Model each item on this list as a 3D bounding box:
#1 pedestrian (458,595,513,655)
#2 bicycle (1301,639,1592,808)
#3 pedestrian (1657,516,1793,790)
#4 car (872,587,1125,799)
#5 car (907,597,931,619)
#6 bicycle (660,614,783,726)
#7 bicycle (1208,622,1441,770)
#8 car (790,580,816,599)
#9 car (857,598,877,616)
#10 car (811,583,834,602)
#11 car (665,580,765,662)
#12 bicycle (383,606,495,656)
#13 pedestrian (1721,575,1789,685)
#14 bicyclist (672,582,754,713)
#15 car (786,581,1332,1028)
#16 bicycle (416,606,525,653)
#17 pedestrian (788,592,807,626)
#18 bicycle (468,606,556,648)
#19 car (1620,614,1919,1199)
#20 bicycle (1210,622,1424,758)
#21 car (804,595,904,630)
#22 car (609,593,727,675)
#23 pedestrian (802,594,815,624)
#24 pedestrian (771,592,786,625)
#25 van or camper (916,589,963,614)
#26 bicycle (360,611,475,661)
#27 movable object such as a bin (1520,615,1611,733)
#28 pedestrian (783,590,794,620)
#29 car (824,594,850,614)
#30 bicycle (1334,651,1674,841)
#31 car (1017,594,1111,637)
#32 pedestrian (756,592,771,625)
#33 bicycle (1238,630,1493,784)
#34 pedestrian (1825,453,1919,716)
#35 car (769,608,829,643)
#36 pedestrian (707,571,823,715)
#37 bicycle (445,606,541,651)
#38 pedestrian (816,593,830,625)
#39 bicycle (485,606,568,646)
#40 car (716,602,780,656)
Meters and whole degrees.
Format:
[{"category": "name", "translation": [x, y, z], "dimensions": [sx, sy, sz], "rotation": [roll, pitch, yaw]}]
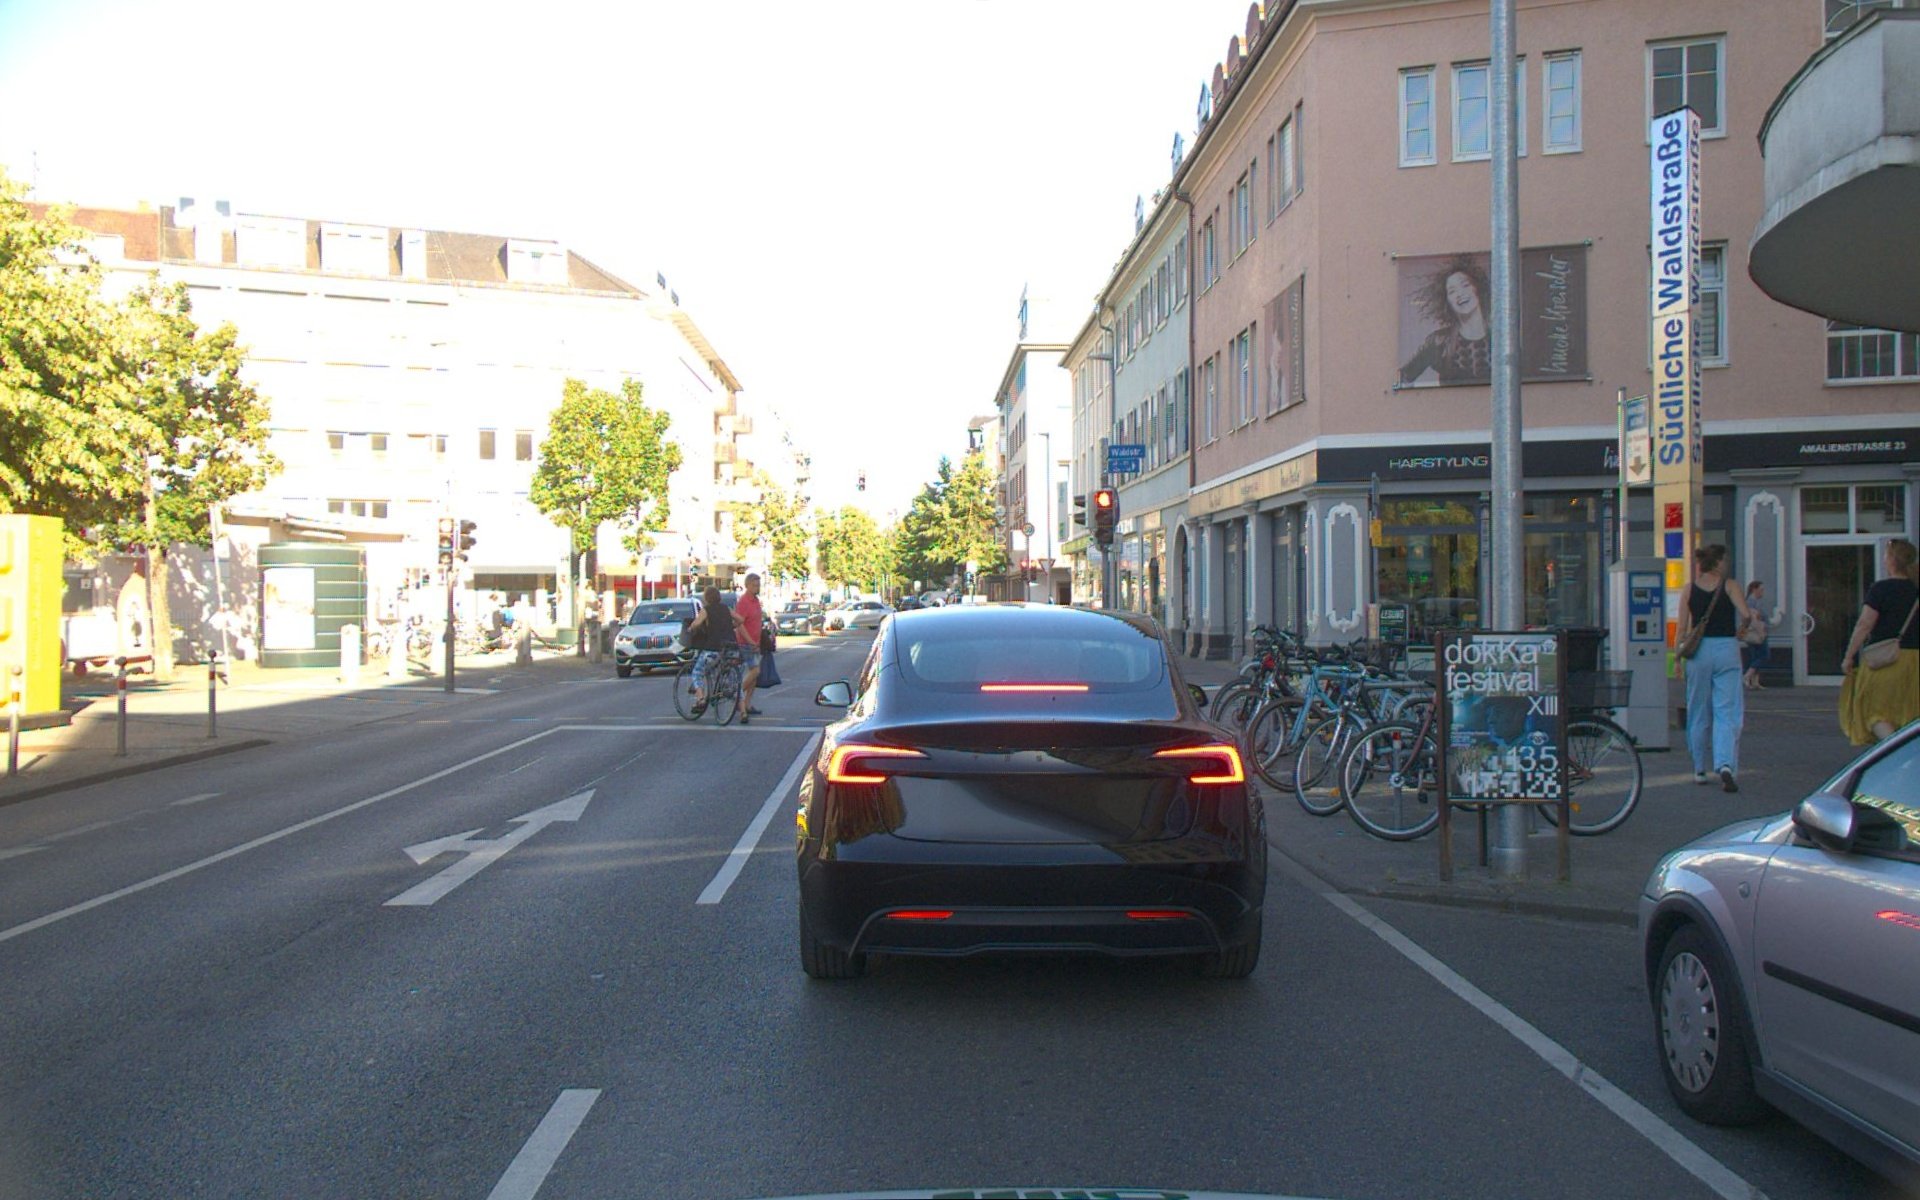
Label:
[{"category": "pedestrian", "translation": [-13.334, 0.702, 46.487], "dimensions": [1.248, 1.639, 1.086], "rotation": [1, -1, -29]}, {"category": "bicycle", "translation": [3.254, 0.817, 11.157], "dimensions": [1.776, 1.078, 0.653], "rotation": [0, 0, 0]}, {"category": "pedestrian", "translation": [5.531, 0.375, 12.003], "dimensions": [0.666, 1.882, 0.894], "rotation": [-4, -1, 16]}, {"category": "car", "translation": [0.247, 0.681, 14.190], "dimensions": [1.812, 1.507, 4.450], "rotation": [1, 0, -1]}, {"category": "car", "translation": [-3.405, 0.655, 138.435], "dimensions": [1.994, 1.819, 4.005], "rotation": [0, 0, -1]}, {"category": "bicycle", "translation": [-2.837, 0.793, 19.506], "dimensions": [0.622, 1.244, 1.976], "rotation": [0, 0, -35]}, {"category": "bicycle", "translation": [2.983, 0.778, 13.634], "dimensions": [1.776, 1.172, 0.653], "rotation": [0, 0, 0]}, {"category": "car", "translation": [-17.018, -1.131, 179.400], "dimensions": [2.228, 2.049, 4.717], "rotation": [1, 0, 0]}, {"category": "car", "translation": [-10.502, 0.827, 186.960], "dimensions": [2.089, 2.004, 4.133], "rotation": [0, 0, -1]}, {"category": "car", "translation": [-15.602, -0.819, 188.056], "dimensions": [2.228, 2.049, 4.717], "rotation": [1, 0, 0]}, {"category": "car", "translation": [-6.227, 0.503, 42.559], "dimensions": [1.906, 1.981, 4.819], "rotation": [0, 0, -1]}, {"category": "bicycle", "translation": [-14.120, 0.841, 44.917], "dimensions": [2.725, 1.296, 0.932], "rotation": [1, 0, -4]}, {"category": "pedestrian", "translation": [11.593, 0.433, 24.125], "dimensions": [0.710, 1.576, 0.788], "rotation": [0, -1, 40]}, {"category": "bicyclist", "translation": [-2.941, 0.550, 19.660], "dimensions": [0.601, 1.510, 0.946], "rotation": [1, -1, -35]}, {"category": "car", "translation": [0.304, 0.695, 7.766], "dimensions": [1.812, 1.472, 4.450], "rotation": [1, 0, -1]}, {"category": "bicycle", "translation": [-13.997, 0.828, 47.318], "dimensions": [2.818, 1.292, 0.942], "rotation": [1, 0, -4]}, {"category": "pedestrian", "translation": [-9.272, 0.506, 94.373], "dimensions": [0.719, 1.900, 0.790], "rotation": [1, -1, 28]}, {"category": "bicycle", "translation": [-14.058, 0.848, 51.911], "dimensions": [2.491, 1.273, 0.942], "rotation": [1, 0, -4]}, {"category": "car", "translation": [2.926, 0.776, 3.532], "dimensions": [1.551, 1.451, 3.579], "rotation": [1, 0, -1]}, {"category": "bicycle", "translation": [3.166, 0.787, 14.771], "dimensions": [1.776, 1.172, 0.653], "rotation": [0, 0, 0]}, {"category": "car", "translation": [-5.264, 0.626, 82.533], "dimensions": [4.638, 1.455, 1.722], "rotation": [-4, 0, -25]}, {"category": "car", "translation": [-6.319, 0.707, 36.231], "dimensions": [1.788, 1.592, 4.299], "rotation": [-4, 0, -1]}, {"category": "pedestrian", "translation": [-9.662, 0.546, 105.462], "dimensions": [0.682, 1.900, 0.907], "rotation": [1, -1, -12]}, {"category": "pedestrian", "translation": [-10.637, 0.494, 97.068], "dimensions": [0.721, 1.900, 0.787], "rotation": [1, -1, -17]}, {"category": "van or camper", "translation": [-2.068, 0.167, 167.514], "dimensions": [4.752, 2.481, 1.850], "rotation": [0, 0, -1]}, {"category": "bicycle", "translation": [-13.946, 0.923, 42.579], "dimensions": [2.607, 1.216, 0.942], "rotation": [1, 0, -4]}, {"category": "movable object such as a bin", "translation": [6.047, 0.727, 16.536], "dimensions": [0.623, 1.122, 0.728], "rotation": [-2, 0, 3]}, {"category": "pedestrian", "translation": [-10.764, 0.310, 103.708], "dimensions": [0.681, 1.900, 0.658], "rotation": [1, -1, -6]}, {"category": "car", "translation": [-12.344, 0.393, 166.256], "dimensions": [2.365, 2.004, 4.677], "rotation": [0, 0, -1]}, {"category": "bicycle", "translation": [3.283, 0.870, 10.085], "dimensions": [1.844, 1.062, 0.653], "rotation": [-1, 0, 0]}, {"category": "car", "translation": [4.715, 0.698, 74.735], "dimensions": [3.937, 1.900, 1.686], "rotation": [0, 0, -22]}, {"category": "pedestrian", "translation": [-11.506, 0.477, 96.685], "dimensions": [0.721, 1.900, 0.787], "rotation": [1, -1, -17]}, {"category": "bicycle", "translation": [3.054, 0.800, 12.561], "dimensions": [1.776, 1.121, 0.653], "rotation": [0, 0, 0]}, {"category": "pedestrian", "translation": [6.689, -0.112, 11.668], "dimensions": [0.706, 1.785, 0.788], "rotation": [-2, -1, 3]}, {"category": "car", "translation": [-6.809, 1.050, 70.328], "dimensions": [1.657, 1.414, 3.919], "rotation": [1, 0, 8]}, {"category": "pedestrian", "translation": [-2.465, 0.529, 21.002], "dimensions": [1.086, 1.750, 1.062], "rotation": [1, -1, 19]}, {"category": "bicycle", "translation": [-14.006, 0.843, 49.637], "dimensions": [2.609, 1.281, 0.942], "rotation": [1, 0, -4]}, {"category": "pedestrian", "translation": [-8.446, 0.551, 101.728], "dimensions": [0.760, 1.900, 1.006], "rotation": [1, -1, -10]}, {"category": "bicycle", "translation": [-14.224, 0.855, 54.333], "dimensions": [2.491, 1.273, 0.942], "rotation": [1, 0, -4]}, {"category": "car", "translation": [-6.332, 0.850, 49.685], "dimensions": [1.431, 1.455, 3.605], "rotation": [-3, 0, -1]}]
